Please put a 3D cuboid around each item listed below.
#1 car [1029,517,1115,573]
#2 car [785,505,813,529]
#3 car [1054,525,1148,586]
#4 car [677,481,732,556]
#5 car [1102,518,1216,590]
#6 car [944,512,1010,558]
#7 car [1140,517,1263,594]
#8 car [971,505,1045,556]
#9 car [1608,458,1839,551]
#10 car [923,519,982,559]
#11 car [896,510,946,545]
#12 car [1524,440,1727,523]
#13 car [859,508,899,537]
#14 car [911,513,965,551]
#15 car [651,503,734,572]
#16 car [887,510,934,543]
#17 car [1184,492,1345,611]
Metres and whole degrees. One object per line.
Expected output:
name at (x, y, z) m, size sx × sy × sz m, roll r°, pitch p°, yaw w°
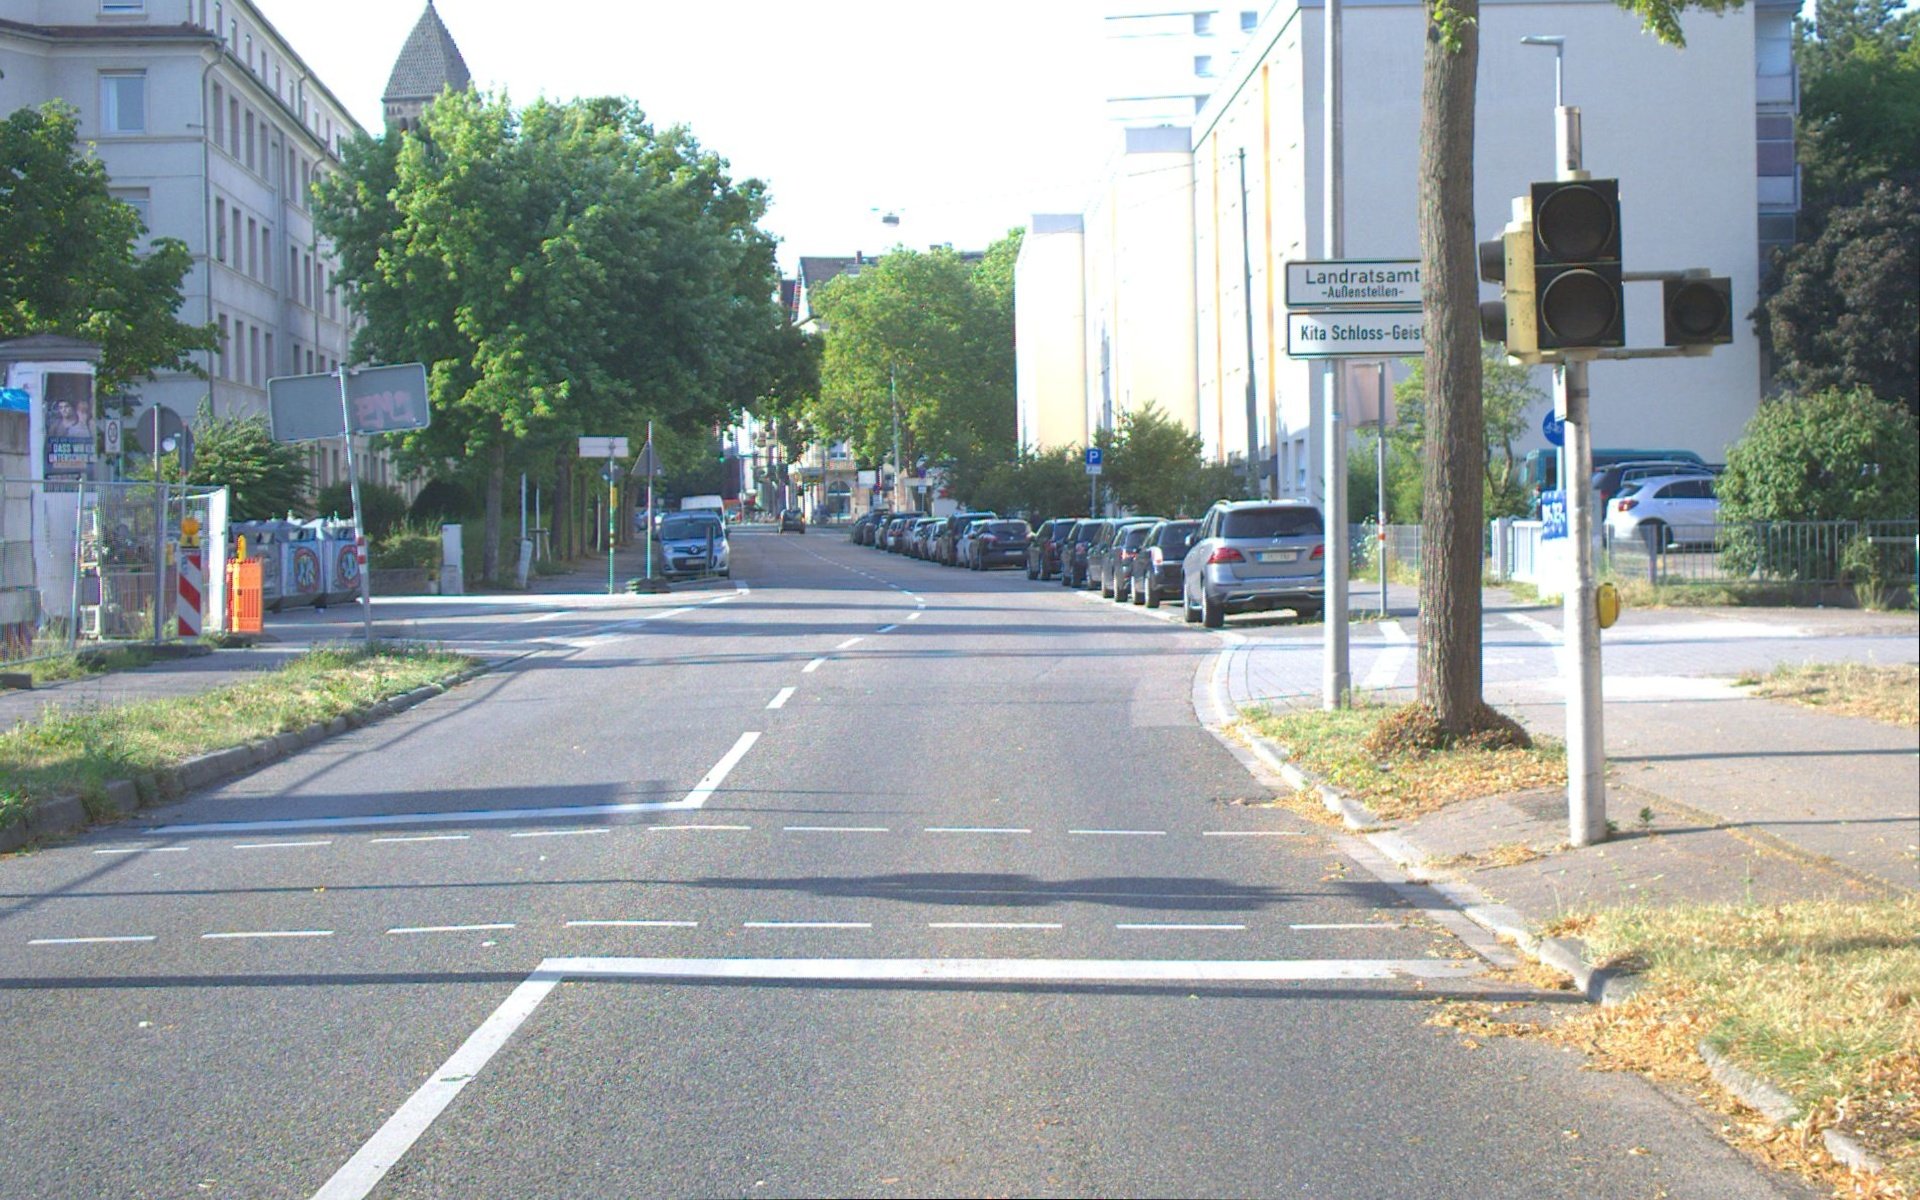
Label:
car at (2.663, -1.334, 82.241) m, size 1.841 × 1.256 × 4.000 m, roll -2°, pitch 1°, yaw -1°
car at (-10.621, -5.469, 226.271) m, size 1.714 × 1.481 × 4.001 m, roll -2°, pitch 1°, yaw -4°
car at (3.083, -0.998, 75.917) m, size 1.841 × 1.256 × 4.000 m, roll -2°, pitch 1°, yaw -1°
car at (-11.363, -3.613, 153.036) m, size 2.185 × 3.120 × 4.986 m, roll -3°, pitch 1°, yaw -4°
car at (3.720, -0.886, 64.953) m, size 1.841 × 1.256 × 4.000 m, roll -2°, pitch 1°, yaw -1°
car at (0.543, -2.113, 111.380) m, size 1.841 × 1.381 × 4.001 m, roll -2°, pitch 1°, yaw -3°
car at (4.159, -0.794, 59.695) m, size 1.779 × 1.223 × 4.000 m, roll -2°, pitch 1°, yaw -1°
car at (1.386, -2.040, 100.649) m, size 1.841 × 1.381 × 4.001 m, roll -2°, pitch 1°, yaw -3°
car at (14.238, -1.775, 64.264) m, size 3.988 × 1.678 × 2.000 m, roll 1°, pitch 0°, yaw 6°
car at (-0.281, -2.205, 123.746) m, size 1.841 × 1.381 × 4.001 m, roll -2°, pitch 1°, yaw -3°
car at (-1.663, -3.059, 144.312) m, size 1.841 × 1.381 × 4.001 m, roll -2°, pitch 1°, yaw -3°
car at (14.133, -2.519, 73.137) m, size 3.987 × 1.722 × 1.773 m, roll 0°, pitch 1°, yaw 1°
car at (-4.107, -3.911, 173.782) m, size 1.841 × 1.381 × 4.001 m, roll -2°, pitch 1°, yaw -3°
car at (-0.864, -2.655, 134.029) m, size 1.841 × 1.381 × 4.001 m, roll -2°, pitch 1°, yaw -3°
car at (-6.875, -1.604, 88.048) m, size 1.993 × 1.682 × 4.001 m, roll -2°, pitch 1°, yaw -6°
car at (-2.177, -3.228, 150.747) m, size 1.841 × 1.381 × 4.001 m, roll -2°, pitch 1°, yaw -3°
car at (4.260, -0.707, 48.607) m, size 1.841 × 1.568 × 4.000 m, roll -2°, pitch 1°, yaw -1°
